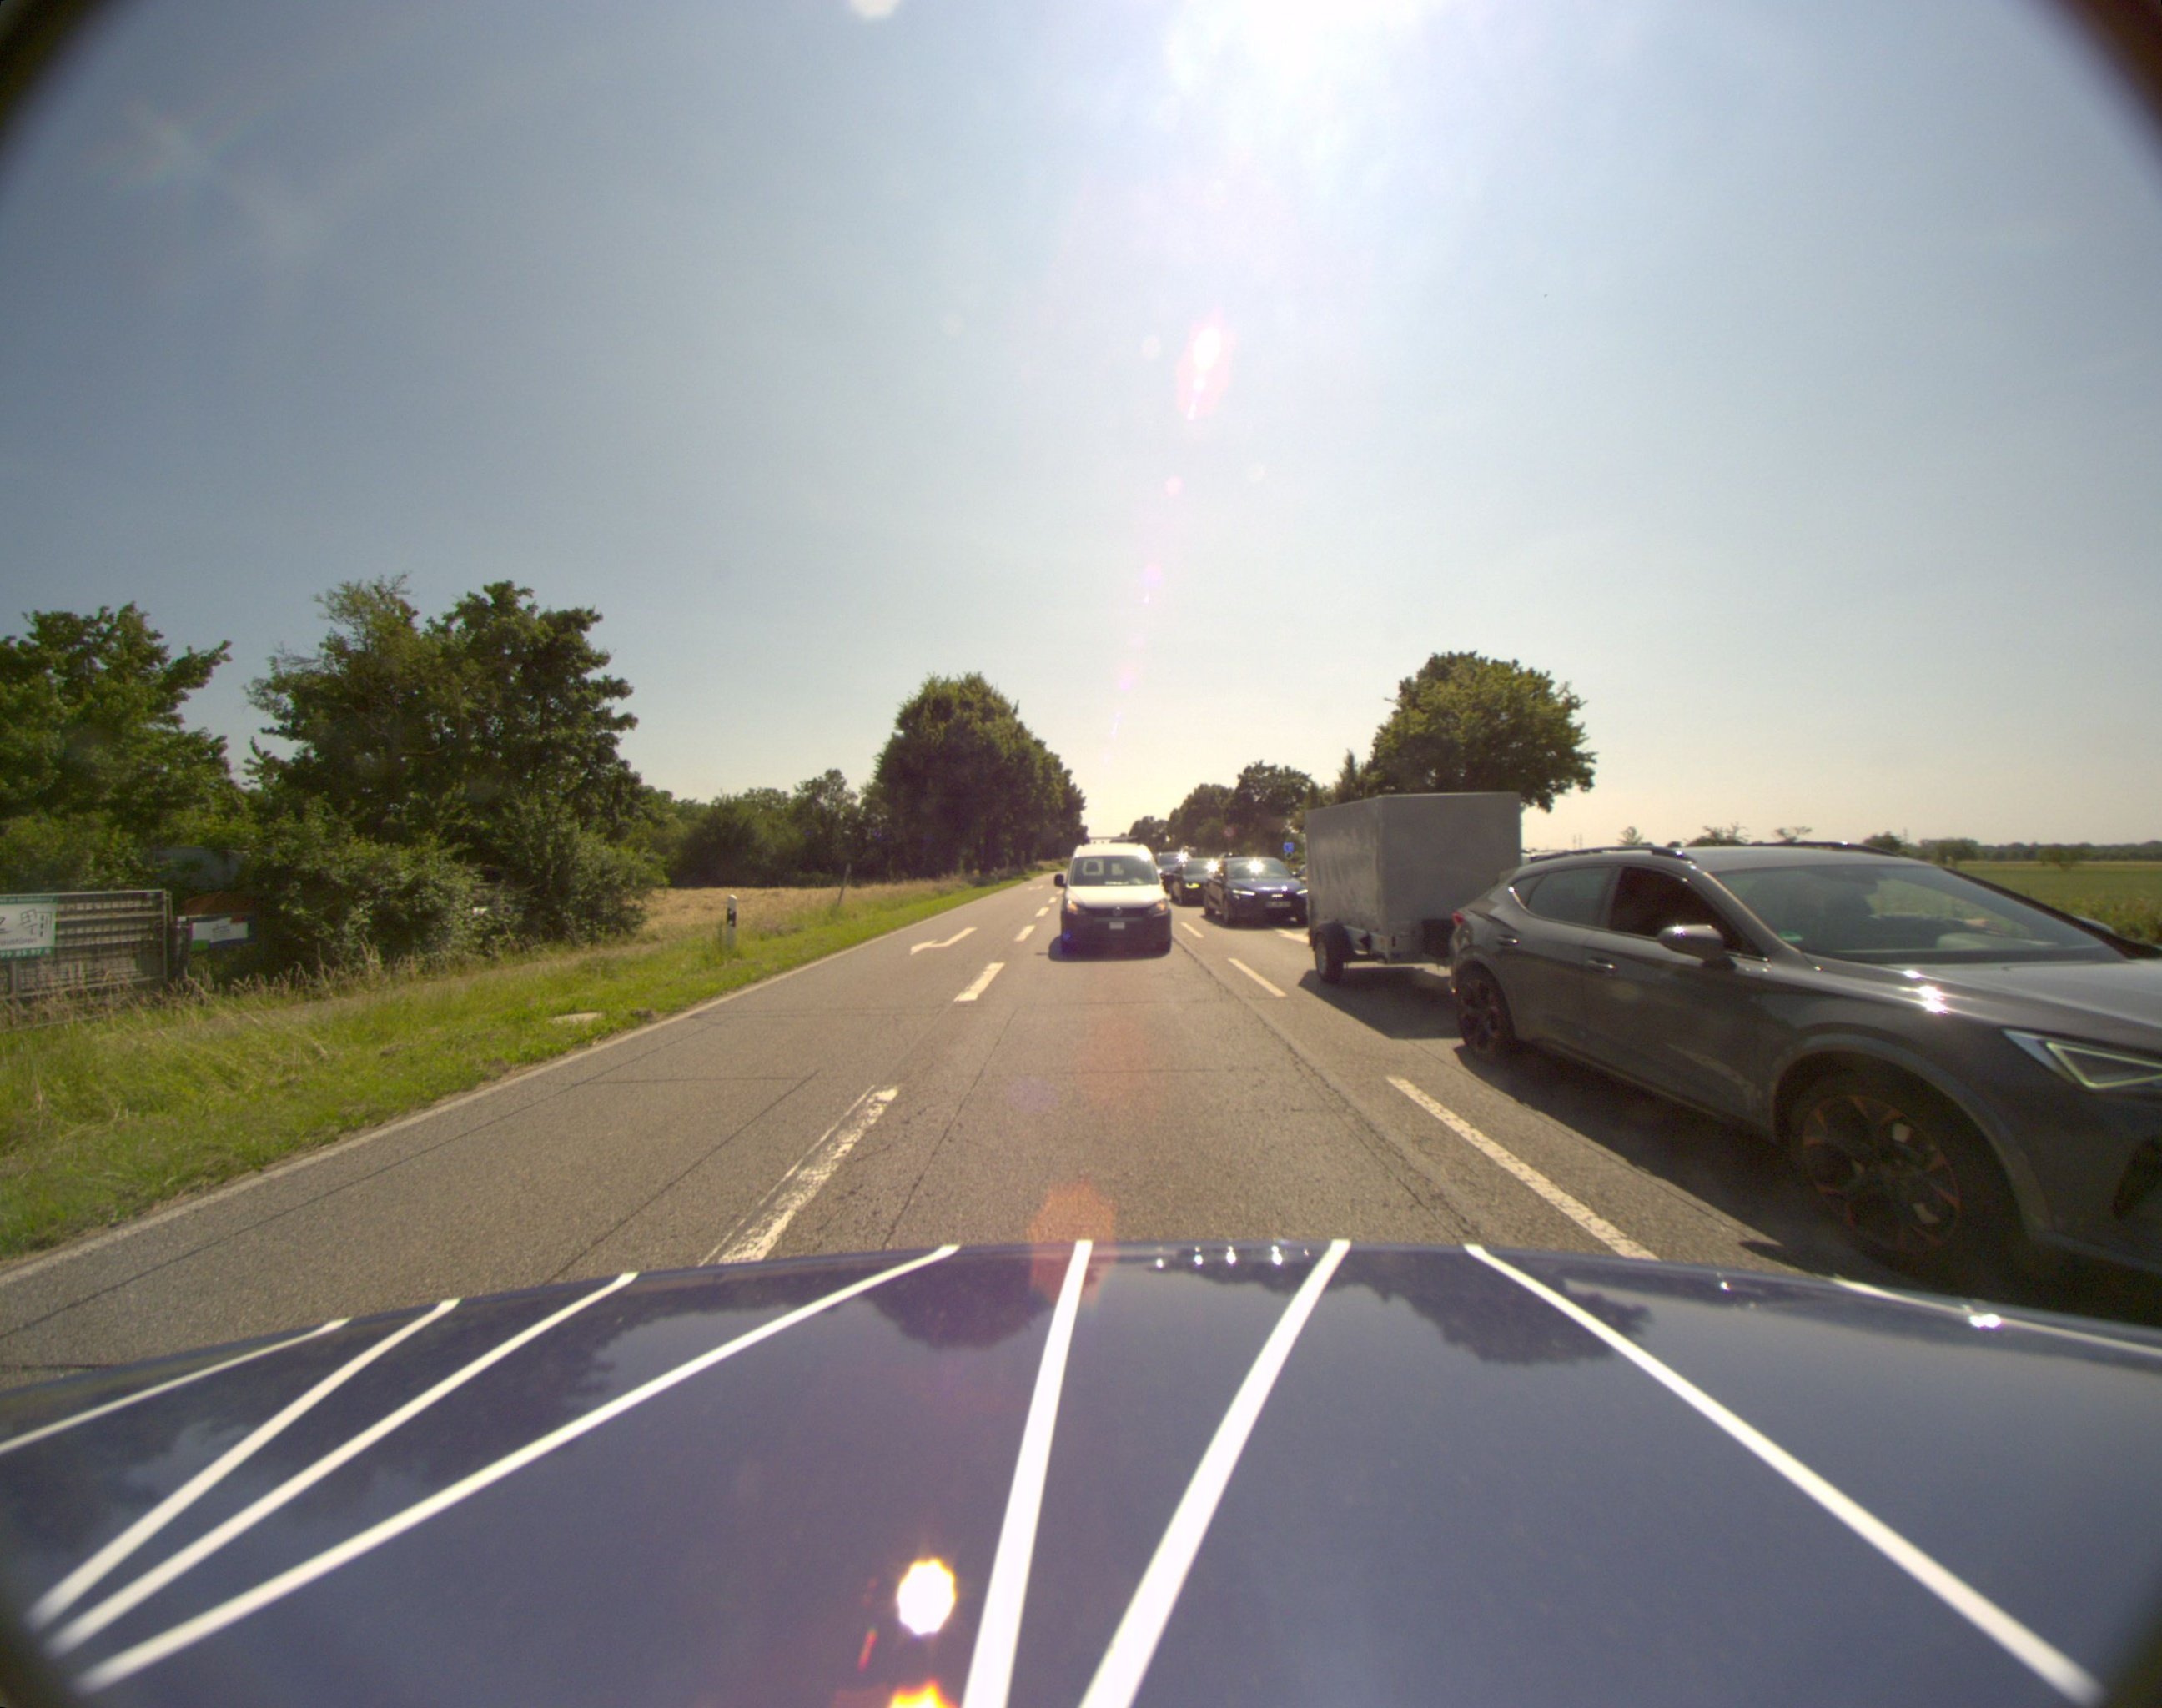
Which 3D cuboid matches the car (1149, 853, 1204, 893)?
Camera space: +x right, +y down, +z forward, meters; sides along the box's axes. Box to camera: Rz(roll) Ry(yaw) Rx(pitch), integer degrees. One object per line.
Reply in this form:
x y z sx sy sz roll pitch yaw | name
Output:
3.941 0.742 31.916 1.860 1.507 4.100 -1 0 2 | car

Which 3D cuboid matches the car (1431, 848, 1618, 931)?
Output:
9.726 0.710 17.083 1.750 1.629 4.135 0 0 -1 | car

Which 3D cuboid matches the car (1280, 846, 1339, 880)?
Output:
13.559 0.520 45.413 1.999 1.919 5.015 0 0 -1 | car

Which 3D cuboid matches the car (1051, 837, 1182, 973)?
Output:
0.541 0.716 13.091 1.777 1.863 4.581 -2 0 1 | car

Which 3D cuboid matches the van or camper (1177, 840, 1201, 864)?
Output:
14.237 -0.211 100.136 2.269 3.081 5.695 0 0 -1 | van or camper

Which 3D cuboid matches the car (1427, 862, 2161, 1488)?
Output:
3.604 0.835 3.804 1.750 1.494 4.363 -2 0 0 | car

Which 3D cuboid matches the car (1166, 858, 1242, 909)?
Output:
3.787 0.858 24.110 1.744 1.372 4.455 -2 0 1 | car

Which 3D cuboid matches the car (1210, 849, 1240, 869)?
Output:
13.352 0.469 70.661 1.862 1.845 4.696 0 0 -1 | car

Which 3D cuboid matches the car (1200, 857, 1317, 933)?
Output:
3.873 0.839 17.255 1.721 1.456 4.030 -2 0 1 | car

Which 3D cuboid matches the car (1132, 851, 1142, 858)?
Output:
11.800 0.013 160.299 1.884 1.446 4.504 0 0 0 | car

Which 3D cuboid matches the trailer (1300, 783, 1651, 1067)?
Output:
3.658 0.553 7.967 1.504 2.160 4.174 -2 0 0 | trailer

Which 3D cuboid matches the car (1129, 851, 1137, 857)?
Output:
14.261 0.024 209.925 1.998 1.594 4.480 0 0 0 | car

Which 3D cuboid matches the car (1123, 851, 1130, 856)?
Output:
13.898 -0.215 232.588 1.998 1.653 4.480 0 0 0 | car
